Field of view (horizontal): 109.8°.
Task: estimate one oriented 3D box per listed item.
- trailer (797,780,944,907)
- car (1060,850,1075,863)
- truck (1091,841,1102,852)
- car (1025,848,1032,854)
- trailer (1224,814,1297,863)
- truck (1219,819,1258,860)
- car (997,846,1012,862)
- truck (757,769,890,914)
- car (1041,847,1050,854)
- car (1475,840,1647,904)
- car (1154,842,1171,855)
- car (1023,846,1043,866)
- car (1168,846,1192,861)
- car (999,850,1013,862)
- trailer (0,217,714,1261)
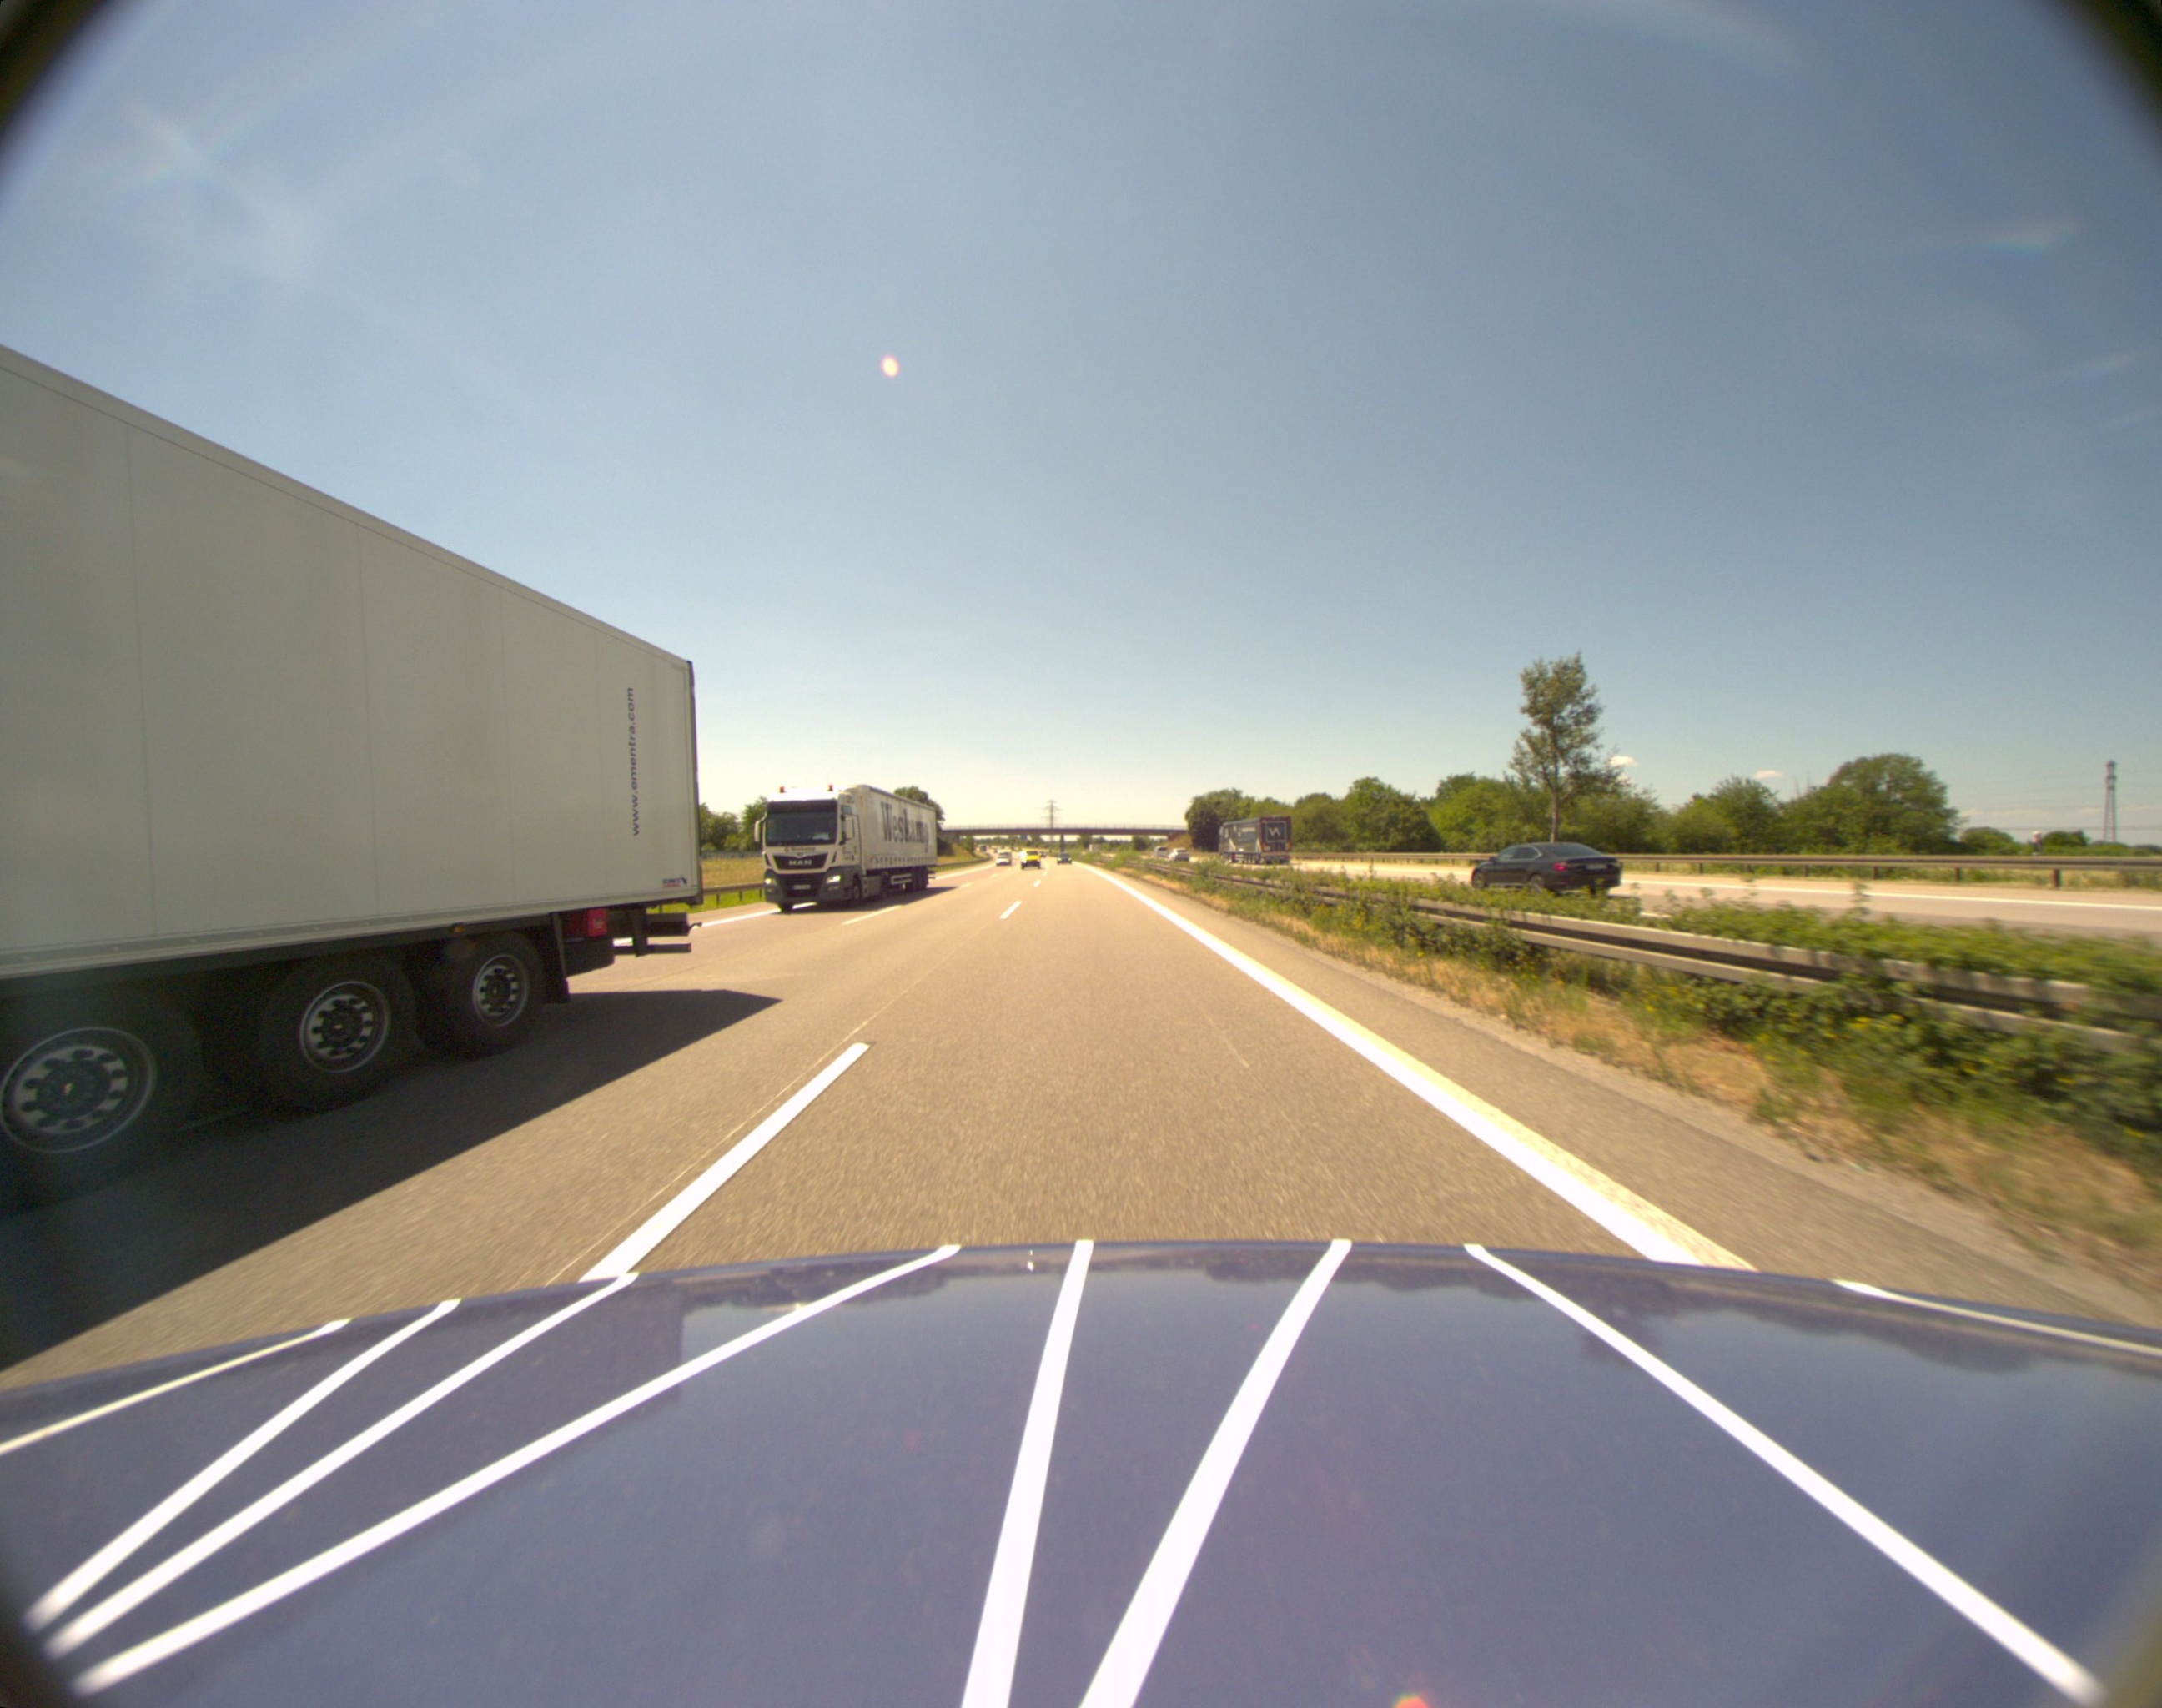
[{"bbox_3d":[-8.422,-0.297,32.741,2.602,4.226,13.640,-2,0,-1],"label":"trailer"},{"bbox_3d":[-1.770,0.296,97.795,1.726,1.478,3.998,-2,1,-3],"label":"car"},{"bbox_3d":[4.599,-2.160,226.722,2.458,3.081,6.987,-2,1,-3],"label":"truck"},{"bbox_3d":[-14.466,-0.779,208.661,1.650,1.557,3.597,-1,1,-7],"label":"car"},{"bbox_3d":[15.951,-1.332,68.972,2.888,3.925,14.053,-1,1,-2],"label":"trailer"},{"bbox_3d":[15.741,-1.418,75.996,2.901,3.893,3.999,-1,1,-2],"label":"truck"},{"bbox_3d":[-11.096,-0.003,109.964,2.189,2.253,4.947,-1,1,-7],"label":"car"},{"bbox_3d":[-8.296,-0.364,25.134,2.607,4.231,5.088,-2,0,-2],"label":"truck"},{"bbox_3d":[-9.128,-0.954,195.668,2.000,1.707,3.997,-1,1,-7],"label":"car"},{"bbox_3d":[12.865,0.409,20.760,1.786,1.509,4.500,-2,1,-1],"label":"car"},{"bbox_3d":[13.512,-0.976,126.939,2.064,2.059,5.407,-1,1,-2],"label":"car"},{"bbox_3d":[-4.679,0.146,74.617,1.777,1.882,3.831,-1,1,-2],"label":"car"},{"bbox_3d":[10.971,-0.124,84.367,1.847,1.577,4.486,-1,1,-2],"label":"car"},{"bbox_3d":[-10.180,0.268,103.467,1.785,1.467,3.997,-1,1,-7],"label":"car"},{"bbox_3d":[-6.247,-0.487,2.466,2.908,4.630,13.985,-2,1,1],"label":"trailer"}]
